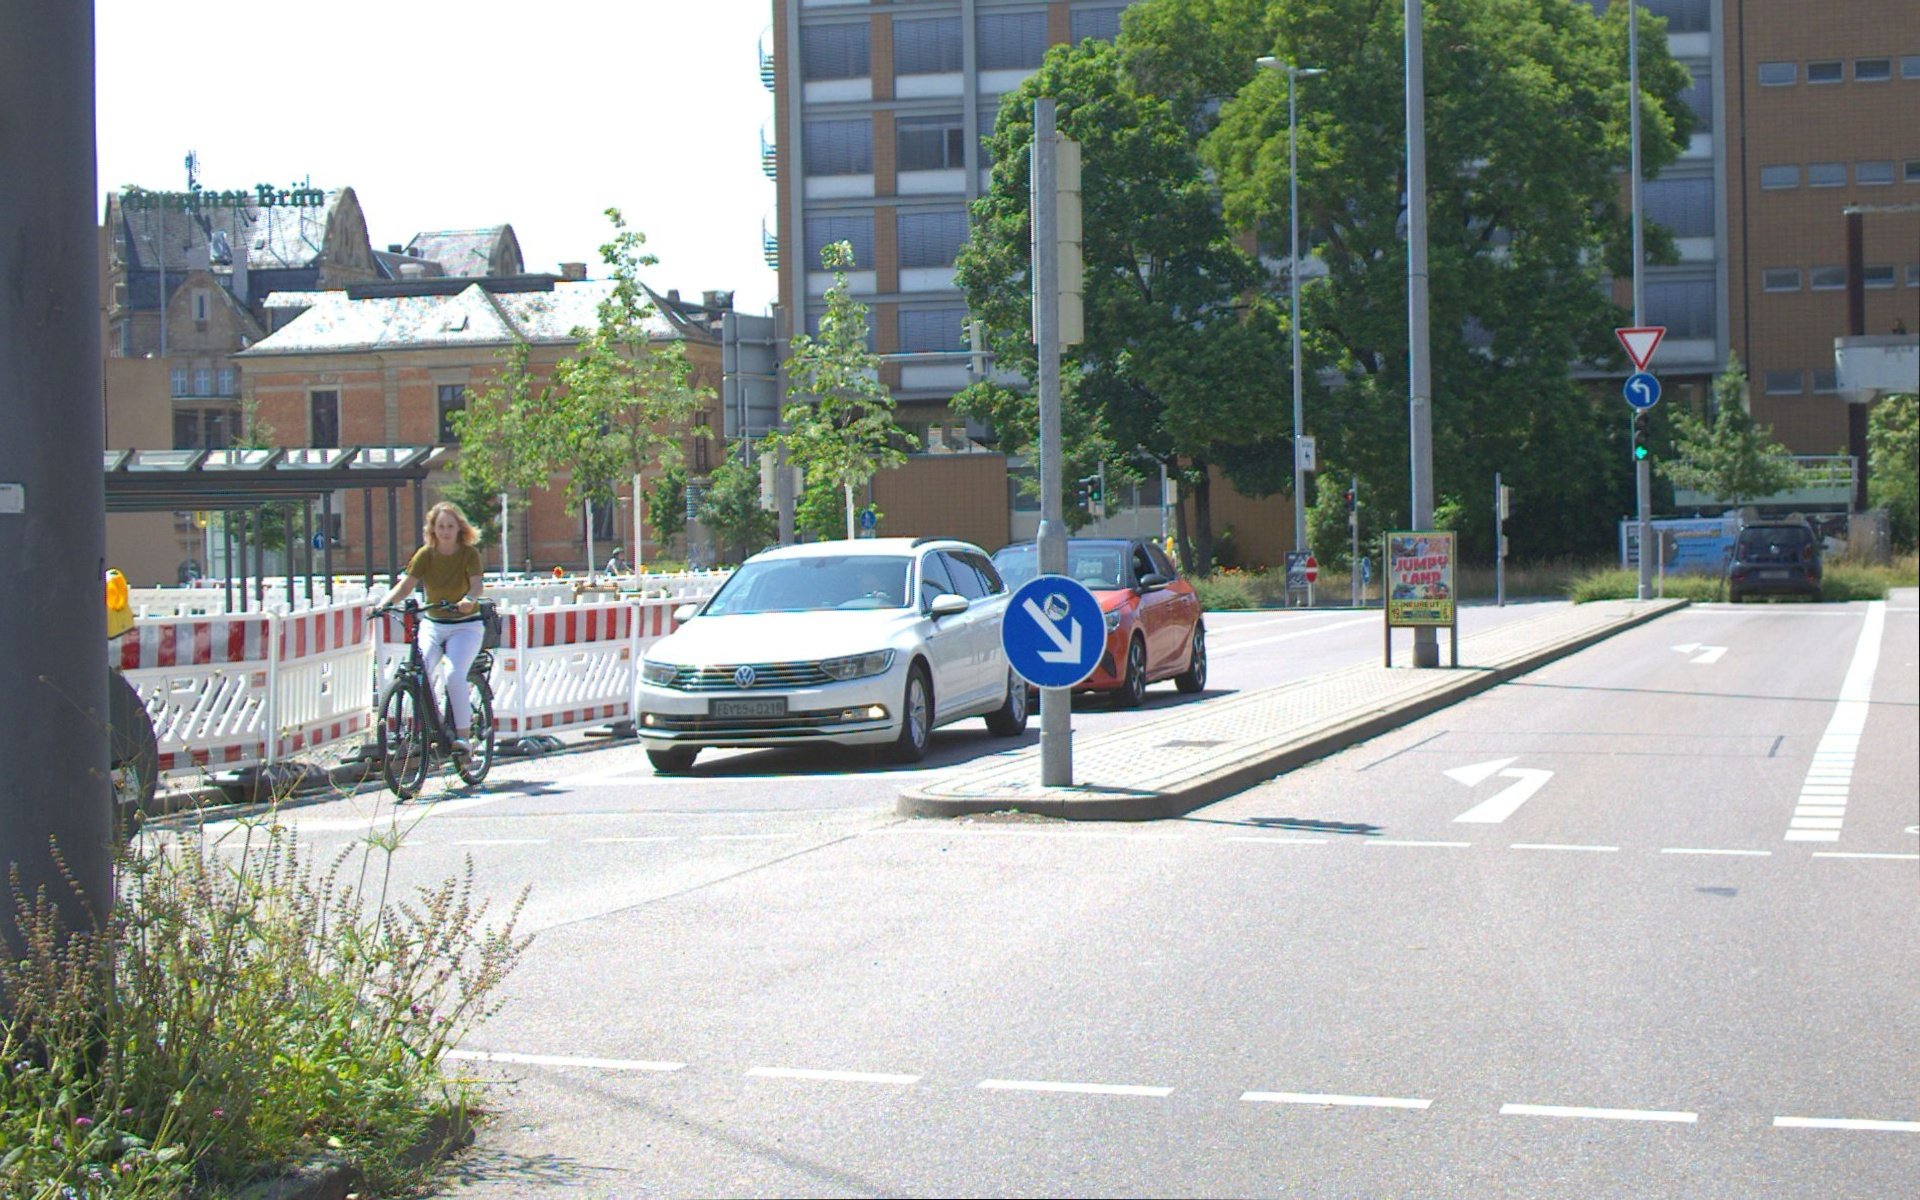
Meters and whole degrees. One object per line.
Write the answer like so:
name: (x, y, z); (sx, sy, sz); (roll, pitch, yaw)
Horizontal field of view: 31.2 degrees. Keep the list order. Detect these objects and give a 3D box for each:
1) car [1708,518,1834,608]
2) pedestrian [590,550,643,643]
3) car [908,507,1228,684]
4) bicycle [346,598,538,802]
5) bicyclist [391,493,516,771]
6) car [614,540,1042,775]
car: (14.463, -0.644, 61.475); (1.689, 1.522, 3.689); (-1, 0, 6)
pedestrian: (-7.477, -0.074, 74.858); (1.016, 2.007, 1.135); (-1, 0, -1)
car: (1.028, -0.056, 30.217); (1.732, 1.420, 4.120); (-1, 0, 17)
bicycle: (-3.194, 0.596, 21.342); (0.398, 1.170, 1.769); (-1, 1, 18)
bicyclist: (-3.166, 0.191, 21.510); (0.567, 1.713, 0.506); (0, 1, 22)
car: (-0.779, 0.345, 23.772); (1.994, 1.433, 4.703); (-1, 0, 10)
